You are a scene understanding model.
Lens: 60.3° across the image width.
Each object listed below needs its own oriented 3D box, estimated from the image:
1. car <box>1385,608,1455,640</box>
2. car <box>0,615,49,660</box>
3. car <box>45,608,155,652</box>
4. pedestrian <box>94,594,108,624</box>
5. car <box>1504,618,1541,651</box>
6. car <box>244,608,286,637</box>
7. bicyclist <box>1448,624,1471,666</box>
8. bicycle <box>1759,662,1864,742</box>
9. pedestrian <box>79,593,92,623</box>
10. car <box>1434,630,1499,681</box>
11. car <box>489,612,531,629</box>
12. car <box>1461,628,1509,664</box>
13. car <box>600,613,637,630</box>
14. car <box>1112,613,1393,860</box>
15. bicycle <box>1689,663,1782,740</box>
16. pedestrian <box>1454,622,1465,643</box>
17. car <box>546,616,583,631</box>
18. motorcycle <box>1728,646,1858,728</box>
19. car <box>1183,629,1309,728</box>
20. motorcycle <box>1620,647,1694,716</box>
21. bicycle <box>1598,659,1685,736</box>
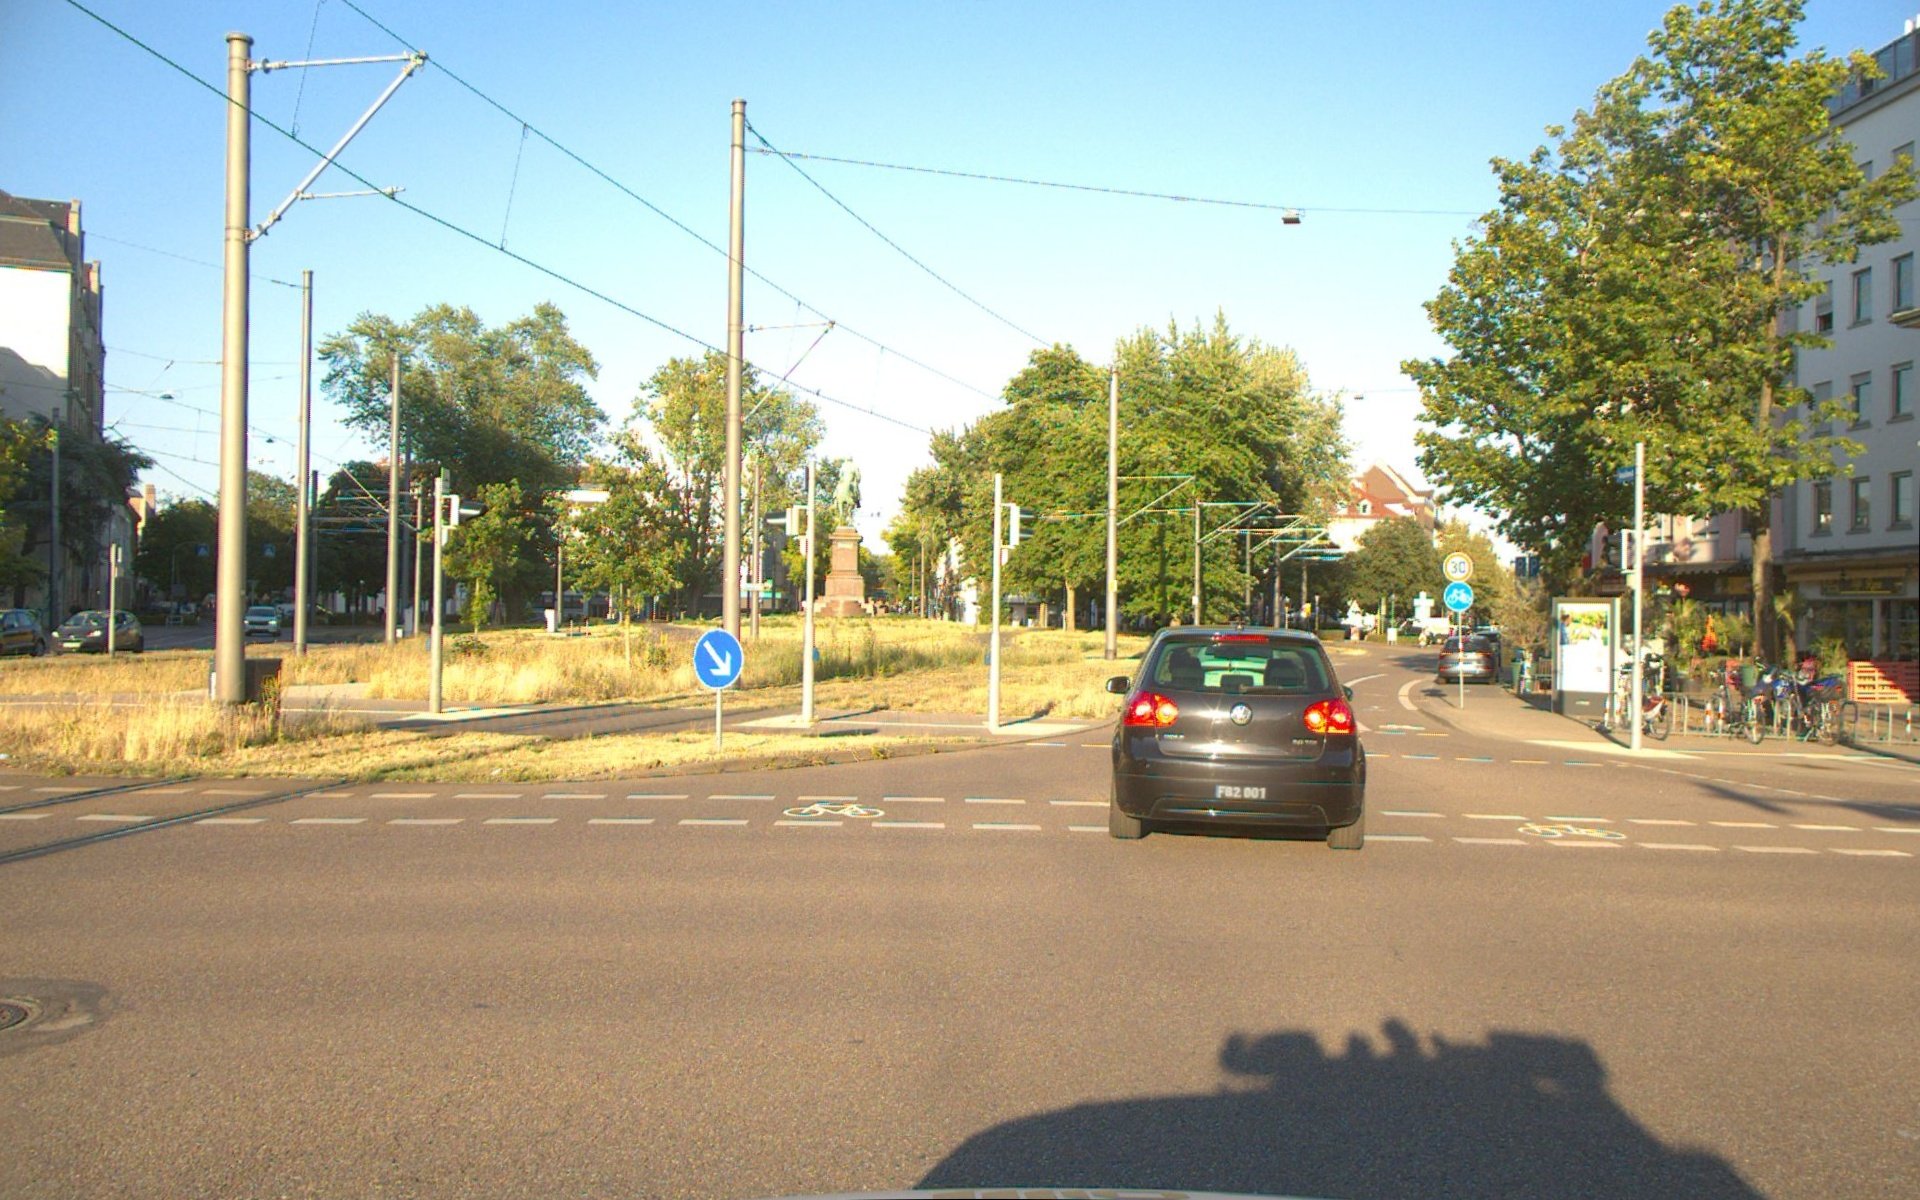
[{"bbox_3d":[40.214,2.115,144.629,5.404,2.640,2.152,1,-1,-5],"label":"car"},{"bbox_3d":[-26.876,1.024,45.796,1.490,1.174,3.595,1,0,-4],"label":"car"},{"bbox_3d":[-27.231,0.920,52.507,1.613,1.304,3.738,1,0,-2],"label":"car"},{"bbox_3d":[-42.671,0.435,82.150,0.405,1.455,0.485,1,0,-3],"label":"pedestrian"},{"bbox_3d":[30.825,1.884,90.583,1.828,1.744,4.506,-2,-1,19],"label":"car"},{"bbox_3d":[-38.537,1.238,91.772,1.742,1.508,4.288,1,0,-17],"label":"car"},{"bbox_3d":[20.202,1.802,66.911,0.761,1.646,1.025,2,-1,21],"label":"bicyclist"},{"bbox_3d":[14.202,1.684,27.652,0.631,1.178,2.124,1,1,-1],"label":"bicycle"},{"bbox_3d":[-43.407,0.406,82.099,0.405,1.455,0.485,1,0,-3],"label":"pedestrian"},{"bbox_3d":[15.749,1.693,51.316,1.692,1.498,3.899,-2,-1,20],"label":"car"},{"bbox_3d":[-41.163,1.849,151.280,3.434,1.474,1.518,1,-1,-6],"label":"car"},{"bbox_3d":[23.955,2.080,75.394,1.745,1.584,4.234,-2,-1,21],"label":"car"},{"bbox_3d":[-32.939,2.086,159.706,3.274,1.534,1.656,1,-1,-6],"label":"car"},{"bbox_3d":[2.168,0.871,12.442,1.710,1.486,4.106,1,0,9],"label":"car"},{"bbox_3d":[12.915,1.667,27.606,0.631,1.146,1.874,1,1,-1],"label":"bicycle"},{"bbox_3d":[37.841,2.466,125.277,0.720,1.582,0.632,1,-1,18],"label":"pedestrian"},{"bbox_3d":[-38.079,2.236,159.283,3.274,1.385,1.518,1,-1,-6],"label":"car"},{"bbox_3d":[15.444,1.607,30.702,2.000,1.431,0.761,1,0,5],"label":"motorcycle"},{"bbox_3d":[4.890,1.261,27.898,1.825,1.466,4.200,1,0,13],"label":"car"},{"bbox_3d":[13.800,1.596,32.806,0.652,1.264,2.202,1,0,4],"label":"motorcycle"},{"bbox_3d":[11.298,1.601,27.490,0.631,1.146,1.874,1,1,-1],"label":"bicycle"}]
